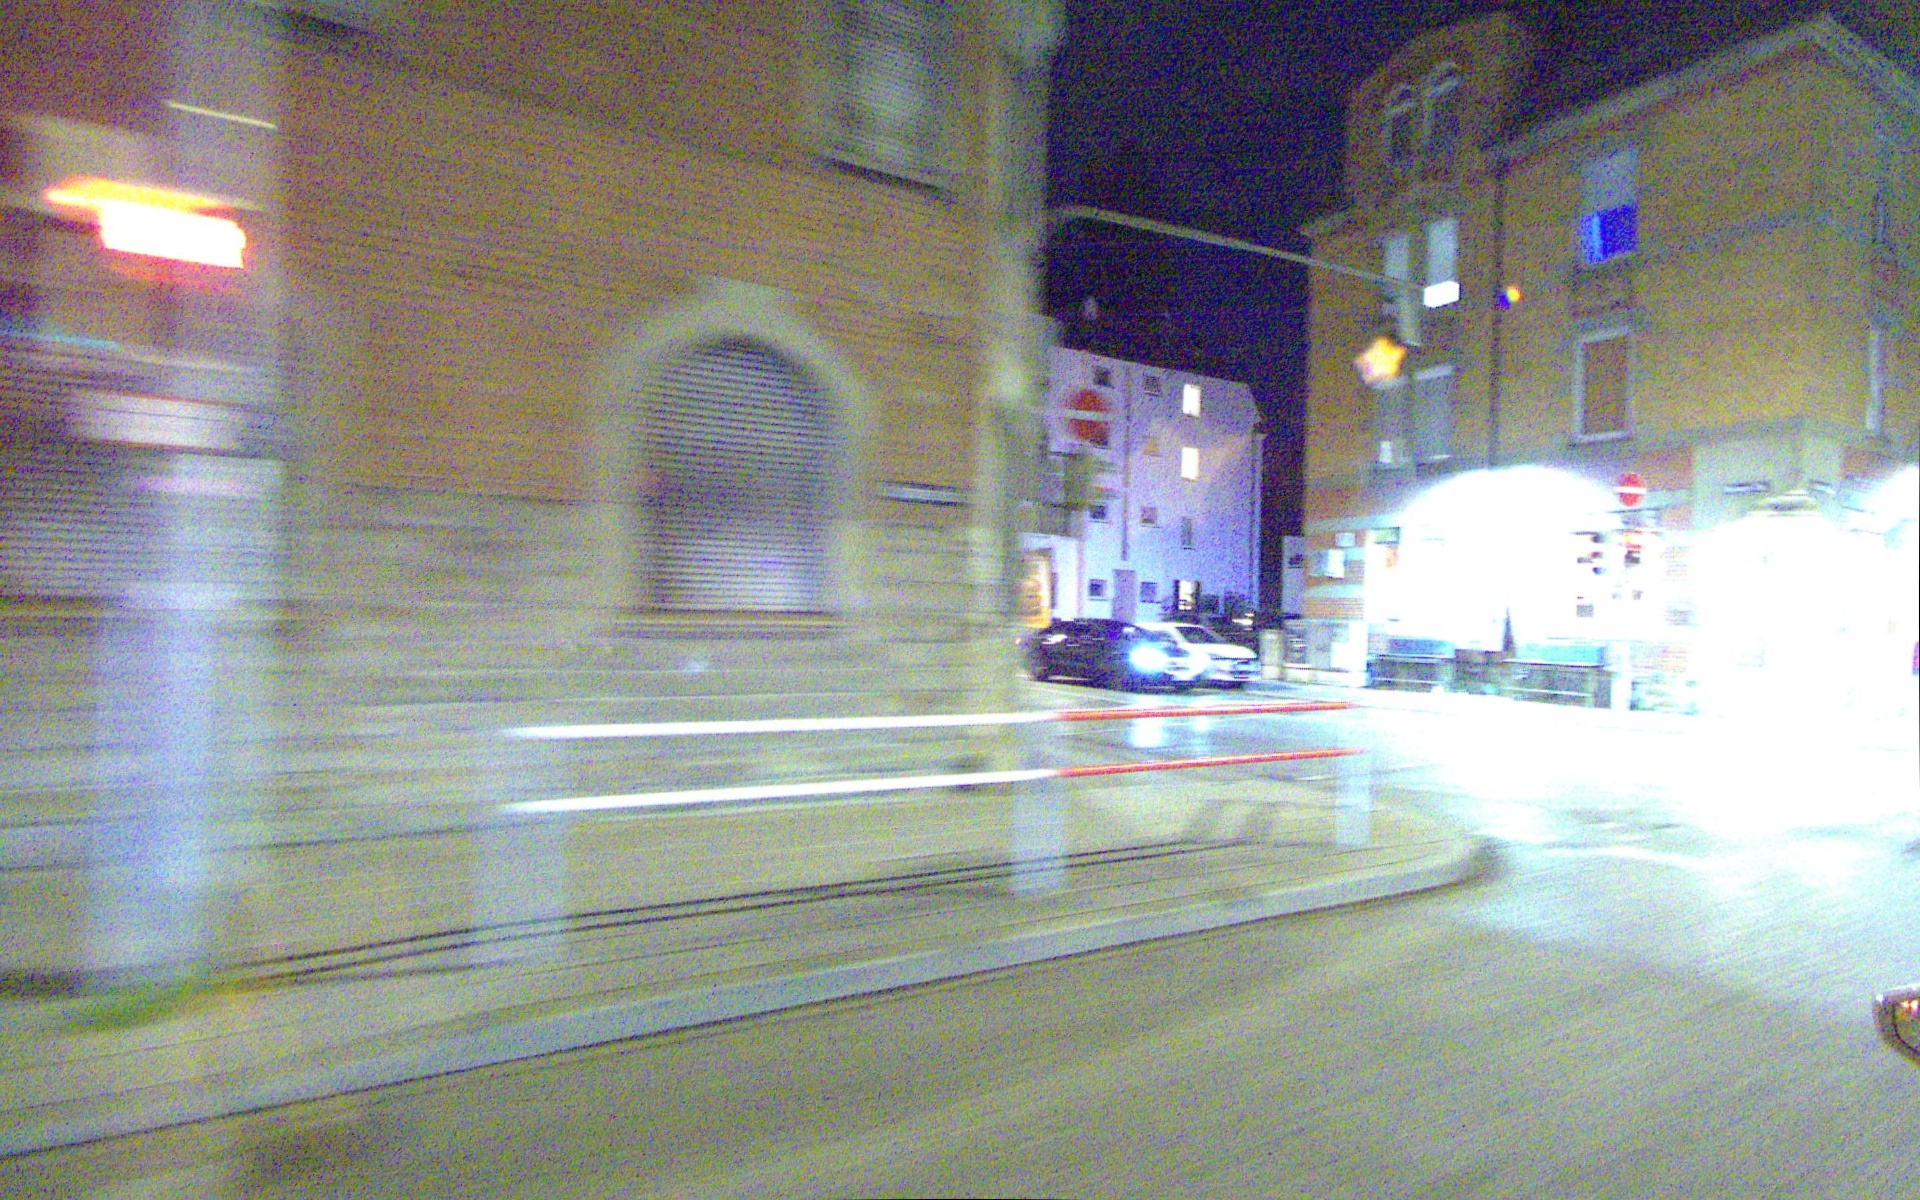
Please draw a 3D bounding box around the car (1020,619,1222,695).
[{"bbox_3d":[3.357,1.163,21.878,1.894,1.436,4.604,2,-1,-30],"label":"car"}]

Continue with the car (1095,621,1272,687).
[{"bbox_3d":[5.279,1.241,24.233,1.780,1.421,4.255,2,-1,-30],"label":"car"}]

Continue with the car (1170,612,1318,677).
[{"bbox_3d":[7.670,1.181,27.368,1.686,1.615,3.581,3,-2,-35],"label":"car"}]

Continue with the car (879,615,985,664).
[{"bbox_3d":[-1.051,1.359,35.503,1.977,1.620,4.255,2,-1,-30],"label":"car"}]
